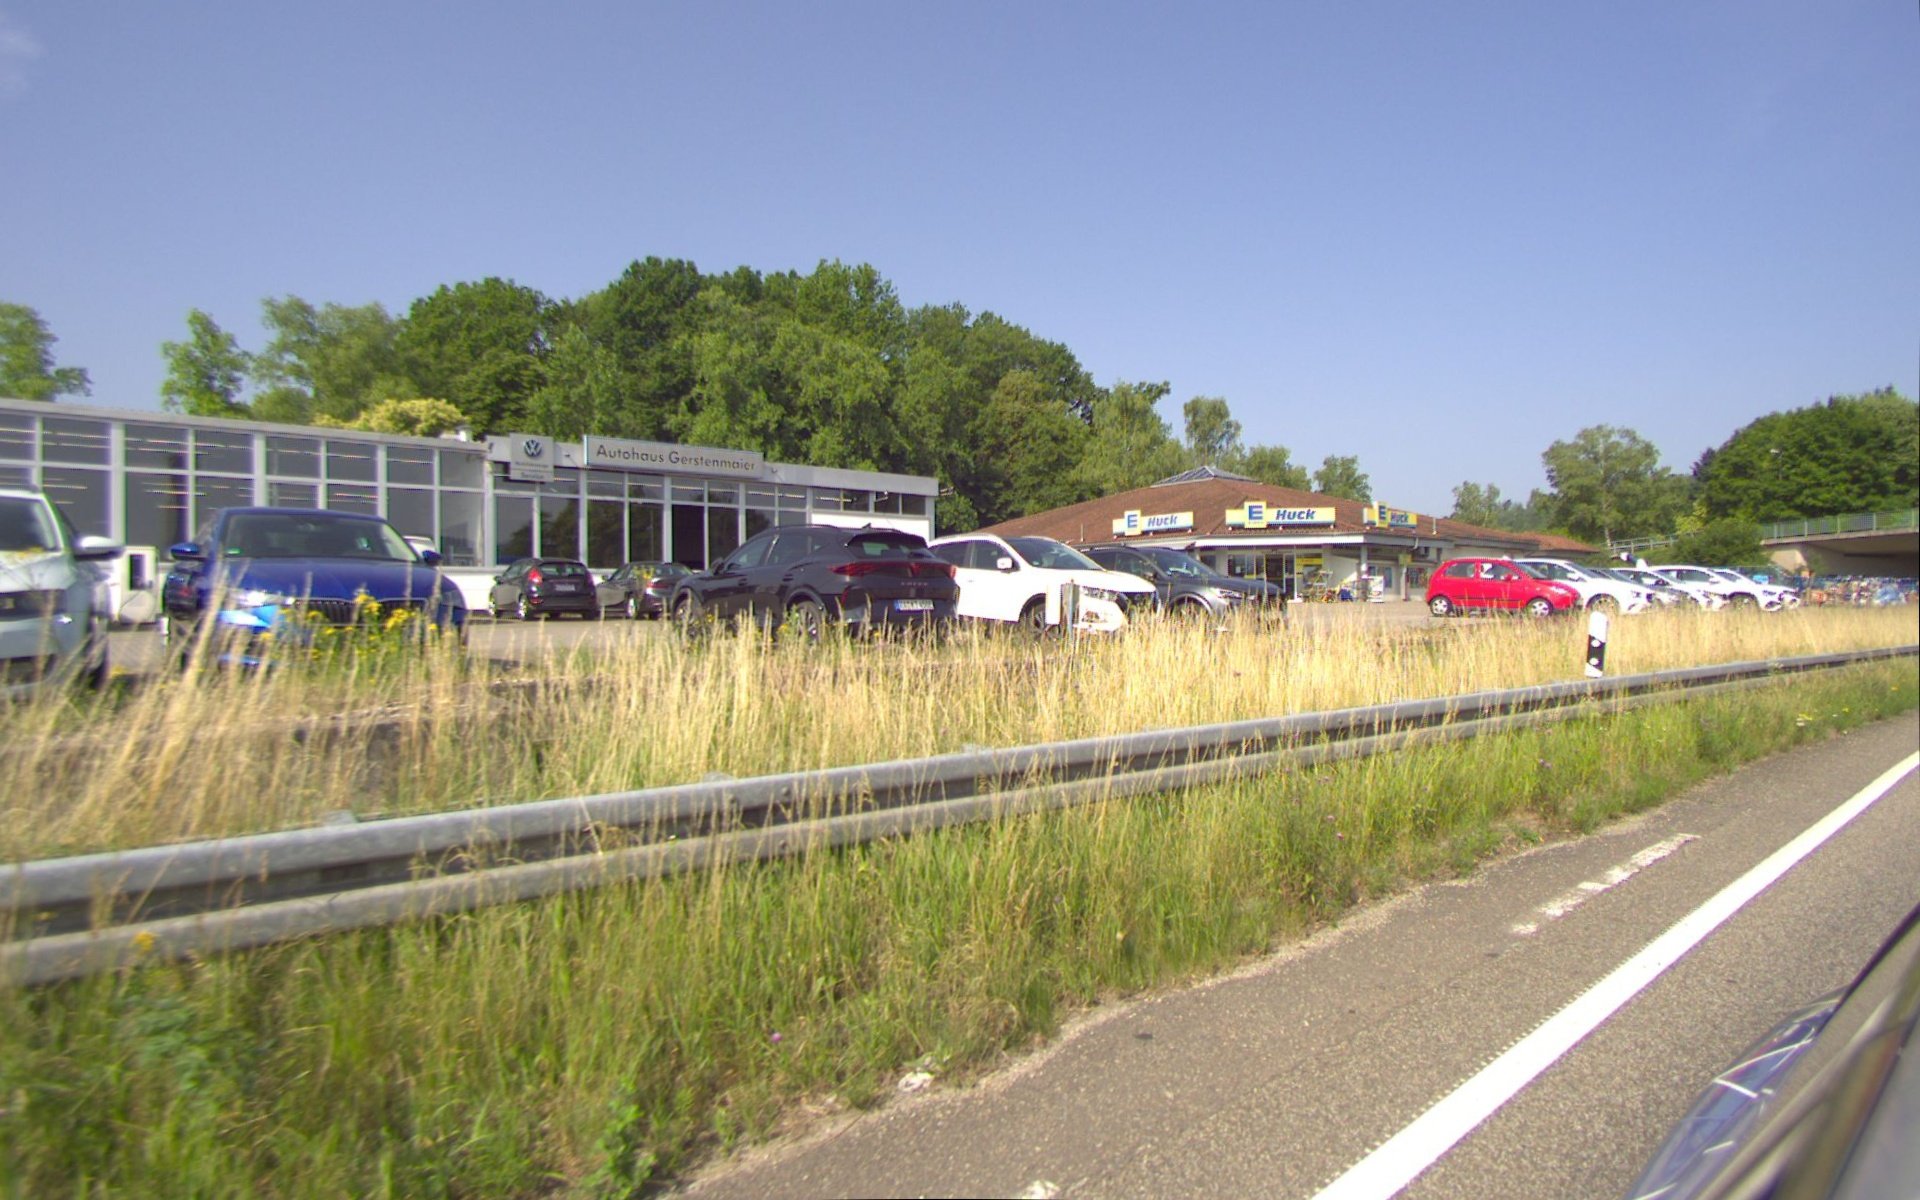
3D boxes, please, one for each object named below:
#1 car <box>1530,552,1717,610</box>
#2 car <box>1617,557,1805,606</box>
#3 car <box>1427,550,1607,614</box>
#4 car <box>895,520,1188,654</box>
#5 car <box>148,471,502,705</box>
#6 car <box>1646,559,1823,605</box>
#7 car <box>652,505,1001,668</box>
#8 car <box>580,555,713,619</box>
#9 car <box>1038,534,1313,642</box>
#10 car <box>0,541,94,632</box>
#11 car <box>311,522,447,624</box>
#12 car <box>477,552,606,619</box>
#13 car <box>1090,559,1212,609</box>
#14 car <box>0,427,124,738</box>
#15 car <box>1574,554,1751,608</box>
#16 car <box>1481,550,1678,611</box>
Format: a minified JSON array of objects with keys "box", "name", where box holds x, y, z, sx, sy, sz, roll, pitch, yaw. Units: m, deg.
[{"box":[18.370,-0.545,28.152,1.843,1.483,3.996,0,1,-39],"name":"car"},{"box":[24.021,-0.605,32.523,1.843,1.483,4.571,0,1,-39],"name":"car"},{"box":[13.791,-0.457,25.191,1.773,1.483,3.545,0,1,-39],"name":"car"},{"box":[0.986,-0.197,13.959,1.774,1.571,3.996,0,1,-39],"name":"car"},{"box":[-5.576,-0.127,8.655,1.848,1.513,4.050,-1,1,-43],"name":"car"},{"box":[26.584,-0.643,34.875,1.843,1.483,4.571,0,1,-39],"name":"car"},{"box":[-1.732,-0.181,11.975,1.998,1.571,4.289,-1,1,-43],"name":"car"},{"box":[-8.059,-0.360,25.745,1.759,1.483,4.320,0,1,-39],"name":"car"},{"box":[3.276,-0.216,16.010,1.843,1.483,3.996,0,1,-39],"name":"car"},{"box":[-16.722,-0.263,18.112,1.760,1.483,4.316,-1,1,-42],"name":"car"},{"box":[-12.455,-0.561,21.576,1.759,1.948,4.318,0,1,-41],"name":"car"},{"box":[-10.255,-0.363,24.633,1.759,1.483,4.320,0,1,-39],"name":"car"},{"box":[6.145,-0.521,32.304,3.921,1.483,1.802,-1,1,-41],"name":"car"},{"box":[-6.438,-0.124,6.272,1.846,1.513,4.360,0,1,-38],"name":"car"},{"box":[20.948,-0.576,30.302,1.843,1.483,3.996,0,1,-39],"name":"car"},{"box":[16.046,-0.515,26.361,1.843,1.483,3.996,0,1,-39],"name":"car"}]
